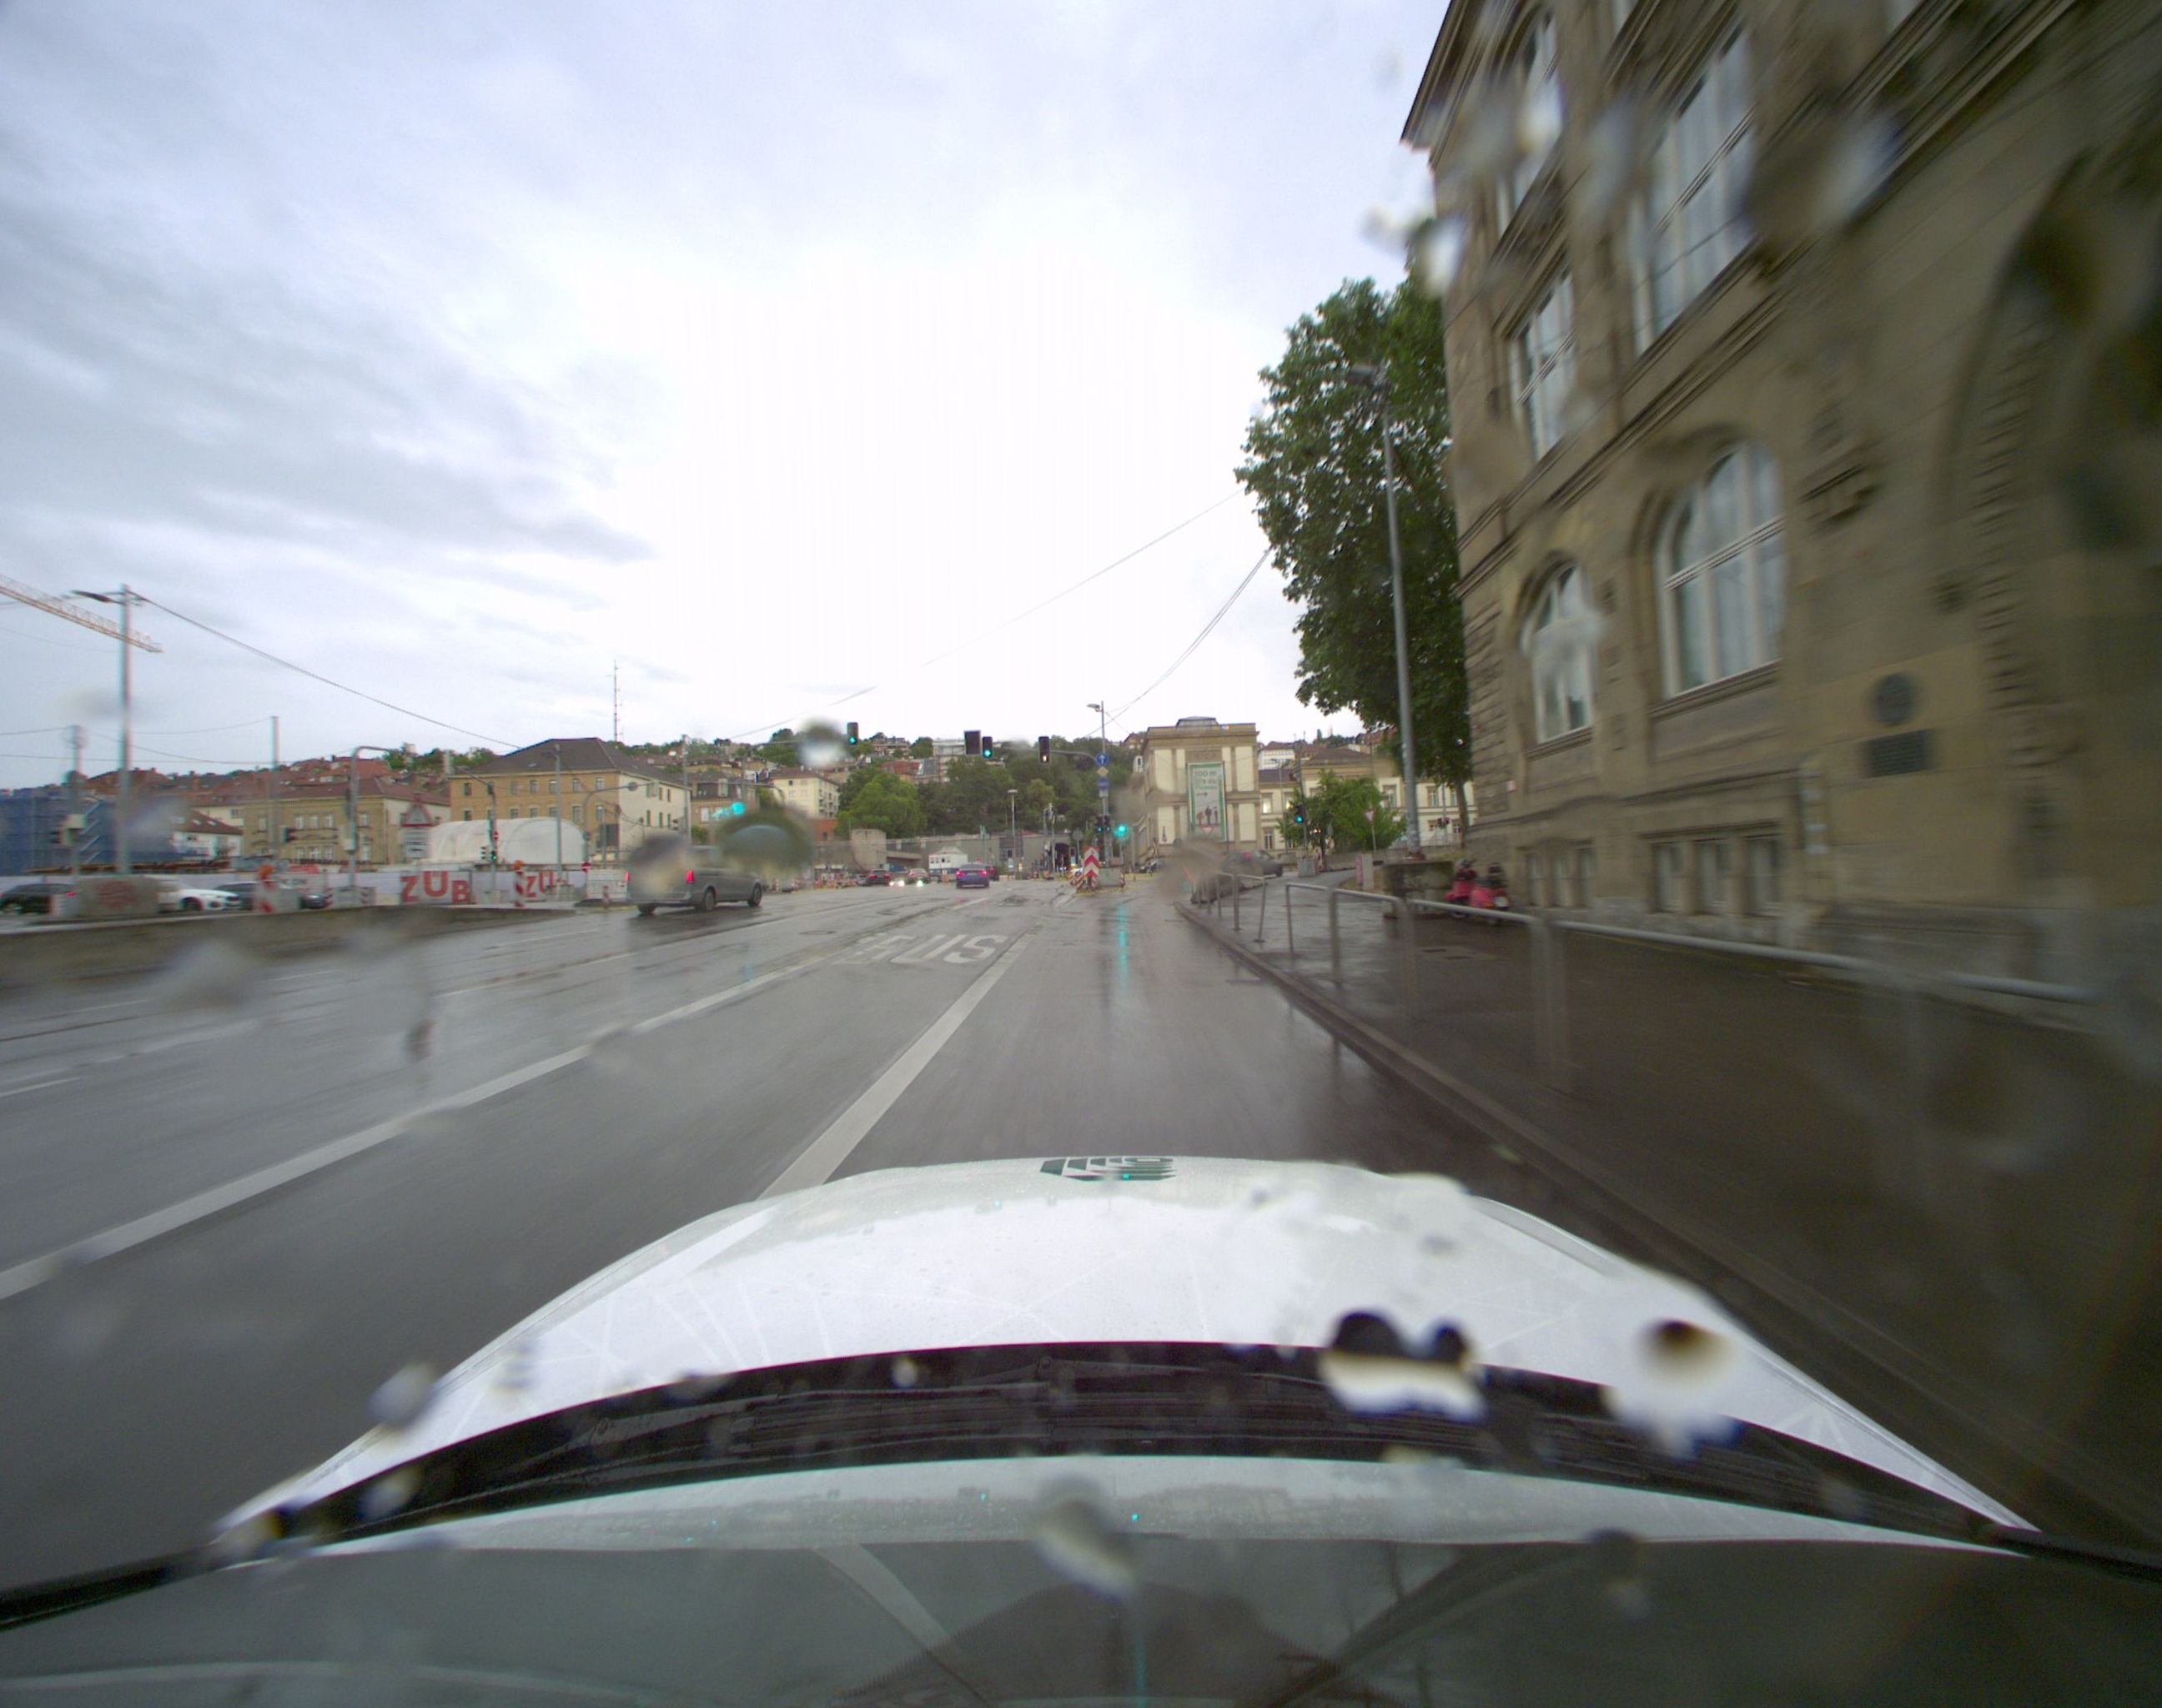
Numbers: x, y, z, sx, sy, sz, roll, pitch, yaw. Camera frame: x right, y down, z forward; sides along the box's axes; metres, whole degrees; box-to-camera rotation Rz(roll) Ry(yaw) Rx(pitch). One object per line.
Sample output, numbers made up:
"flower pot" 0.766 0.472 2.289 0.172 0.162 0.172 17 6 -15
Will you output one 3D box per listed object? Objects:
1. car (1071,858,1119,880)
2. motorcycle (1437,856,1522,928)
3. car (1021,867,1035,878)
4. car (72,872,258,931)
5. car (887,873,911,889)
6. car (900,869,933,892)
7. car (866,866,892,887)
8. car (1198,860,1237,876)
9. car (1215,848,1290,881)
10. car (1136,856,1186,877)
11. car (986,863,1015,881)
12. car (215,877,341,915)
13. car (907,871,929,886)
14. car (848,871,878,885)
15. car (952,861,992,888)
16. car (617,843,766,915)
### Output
"car" 1.382 1.491 80.850 4.616 2.013 1.998 -1 0 -3
"motorcycle" 6.840 0.619 14.081 0.544 1.138 1.899 -2 0 2
"car" -6.989 2.389 107.849 1.487 1.354 4.002 0 0 2
"car" -36.373 1.834 32.522 4.428 2.013 1.984 -2 0 -24
"car" -24.264 3.558 108.850 1.984 2.013 4.006 -1 0 5
"car" -15.100 2.388 74.724 2.004 2.013 4.258 -1 0 -26
"car" -17.380 1.903 69.882 1.782 1.750 3.973 -1 0 -20
"car" 15.764 1.577 94.154 4.165 1.701 1.823 -1 0 1
"car" 8.212 0.478 38.844 1.654 1.427 3.780 -4 -2 44
"car" 7.959 1.253 81.339 4.664 2.013 1.998 -1 0 -3
"car" -7.666 1.661 77.740 1.983 1.634 4.007 0 0 7
"car" -38.249 1.968 38.915 3.801 1.566 1.849 -2 0 -19
"car" -23.434 3.546 116.911 1.984 2.013 4.006 -1 0 5
"car" -23.276 2.533 86.834 1.789 1.464 3.956 -1 0 -35
"car" -6.171 1.155 46.640 1.990 1.438 3.993 -1 -1 -4
"car" -11.071 0.673 23.582 1.987 1.839 4.683 -1 -1 1
